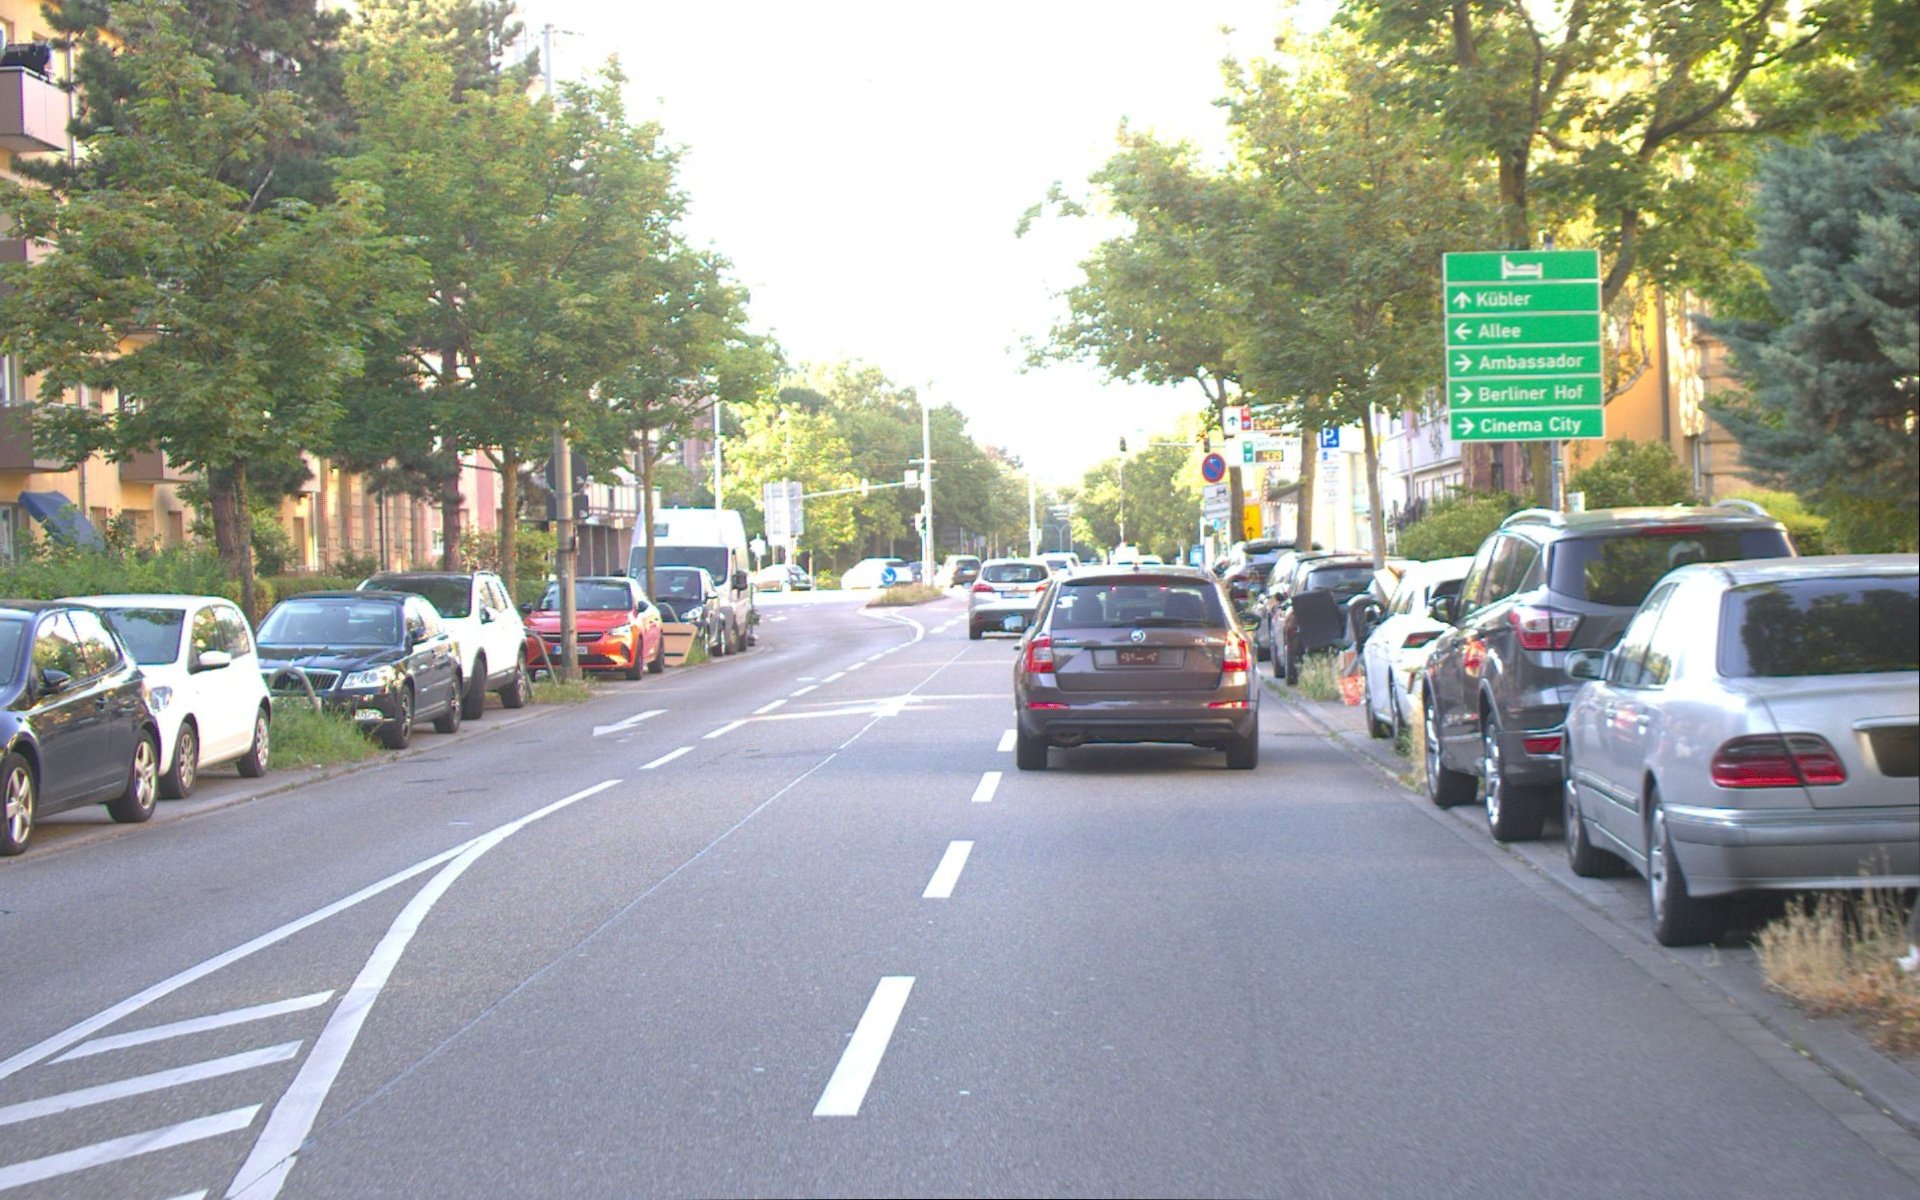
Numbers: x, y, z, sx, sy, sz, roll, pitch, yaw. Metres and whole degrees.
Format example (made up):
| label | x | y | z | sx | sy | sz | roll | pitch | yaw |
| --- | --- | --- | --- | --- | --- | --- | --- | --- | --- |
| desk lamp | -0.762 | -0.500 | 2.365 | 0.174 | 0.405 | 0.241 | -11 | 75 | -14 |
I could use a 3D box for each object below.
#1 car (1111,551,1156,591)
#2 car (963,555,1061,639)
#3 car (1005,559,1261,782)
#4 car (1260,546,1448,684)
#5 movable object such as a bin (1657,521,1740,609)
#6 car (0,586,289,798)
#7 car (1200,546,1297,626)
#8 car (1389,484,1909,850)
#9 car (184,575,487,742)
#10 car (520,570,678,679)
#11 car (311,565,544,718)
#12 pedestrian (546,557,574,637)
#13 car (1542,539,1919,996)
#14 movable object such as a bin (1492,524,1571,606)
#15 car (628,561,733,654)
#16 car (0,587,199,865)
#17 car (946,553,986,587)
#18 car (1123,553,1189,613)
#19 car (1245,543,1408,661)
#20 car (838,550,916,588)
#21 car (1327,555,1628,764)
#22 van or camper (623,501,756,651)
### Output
| label | x | y | z | sx | sy | sz | roll | pitch | yaw |
| --- | --- | --- | --- | --- | --- | --- | --- | --- | --- |
| car | 6.362 | -1.060 | 126.367 | 1.585 | 1.442 | 3.647 | 0 | 1 | 2 |
| car | 1.014 | -0.084 | 65.139 | 1.707 | 1.504 | 4.309 | -1 | 1 | 2 |
| car | 1.262 | 0.450 | 25.328 | 1.707 | 1.452 | 4.158 | 1 | 1 | 3 |
| car | 4.552 | 0.135 | 40.254 | 1.770 | 1.444 | 4.484 | -3 | 1 | 2 |
| movable object such as a bin | 13.375 | -0.637 | 62.245 | 1.154 | 1.550 | 0.995 | -2 | 1 | -7 |
| car | -6.355 | 0.654 | 26.384 | 1.591 | 1.487 | 3.642 | -1 | 0 | 1 |
| car | 5.992 | -0.321 | 71.872 | 1.856 | 1.507 | 4.834 | -3 | 1 | 4 |
| car | 3.647 | 0.294 | 19.097 | 1.916 | 1.676 | 4.708 | -3 | 1 | 1 |
| car | -6.018 | 0.516 | 33.644 | 1.993 | 1.443 | 4.458 | -2 | 1 | 2 |
| car | -5.186 | 0.324 | 49.807 | 1.717 | 1.447 | 3.923 | -1 | 1 | 2 |
| car | -5.915 | 0.424 | 38.638 | 1.777 | 1.583 | 4.185 | -1 | 1 | 2 |
| pedestrian | -8.365 | -0.065 | 71.901 | 0.480 | 1.646 | 0.725 | -2 | 1 | -4 |
| car | 3.524 | 0.524 | 13.923 | 1.784 | 1.499 | 4.830 | -2 | 1 | 4 |
| movable object such as a bin | 10.399 | -0.637 | 62.572 | 1.253 | 1.436 | 0.994 | -2 | 1 | 17 |
| car | -4.774 | 0.116 | 58.980 | 1.404 | 1.543 | 2.761 | 0 | 1 | 4 |
| car | -6.202 | 0.704 | 21.239 | 1.837 | 1.512 | 4.315 | 0 | 1 | 3 |
| car | 0.265 | -1.374 | 155.132 | 1.620 | 1.489 | 3.347 | -1 | 1 | 3 |
| car | 5.092 | -0.463 | 89.659 | 1.650 | 1.479 | 4.239 | -1 | 1 | 2 |
| car | 4.964 | -0.006 | 47.046 | 1.716 | 1.467 | 4.432 | -3 | 1 | 0 |
| car | -3.970 | -1.477 | 164.329 | 1.993 | 1.664 | 4.000 | -2 | 1 | -30 |
| car | 3.900 | 0.396 | 26.548 | 1.762 | 1.397 | 4.333 | -3 | 1 | 2 |
| van or camper | -4.975 | -0.462 | 63.934 | 2.035 | 2.654 | 6.016 | 0 | 1 | 0 |
